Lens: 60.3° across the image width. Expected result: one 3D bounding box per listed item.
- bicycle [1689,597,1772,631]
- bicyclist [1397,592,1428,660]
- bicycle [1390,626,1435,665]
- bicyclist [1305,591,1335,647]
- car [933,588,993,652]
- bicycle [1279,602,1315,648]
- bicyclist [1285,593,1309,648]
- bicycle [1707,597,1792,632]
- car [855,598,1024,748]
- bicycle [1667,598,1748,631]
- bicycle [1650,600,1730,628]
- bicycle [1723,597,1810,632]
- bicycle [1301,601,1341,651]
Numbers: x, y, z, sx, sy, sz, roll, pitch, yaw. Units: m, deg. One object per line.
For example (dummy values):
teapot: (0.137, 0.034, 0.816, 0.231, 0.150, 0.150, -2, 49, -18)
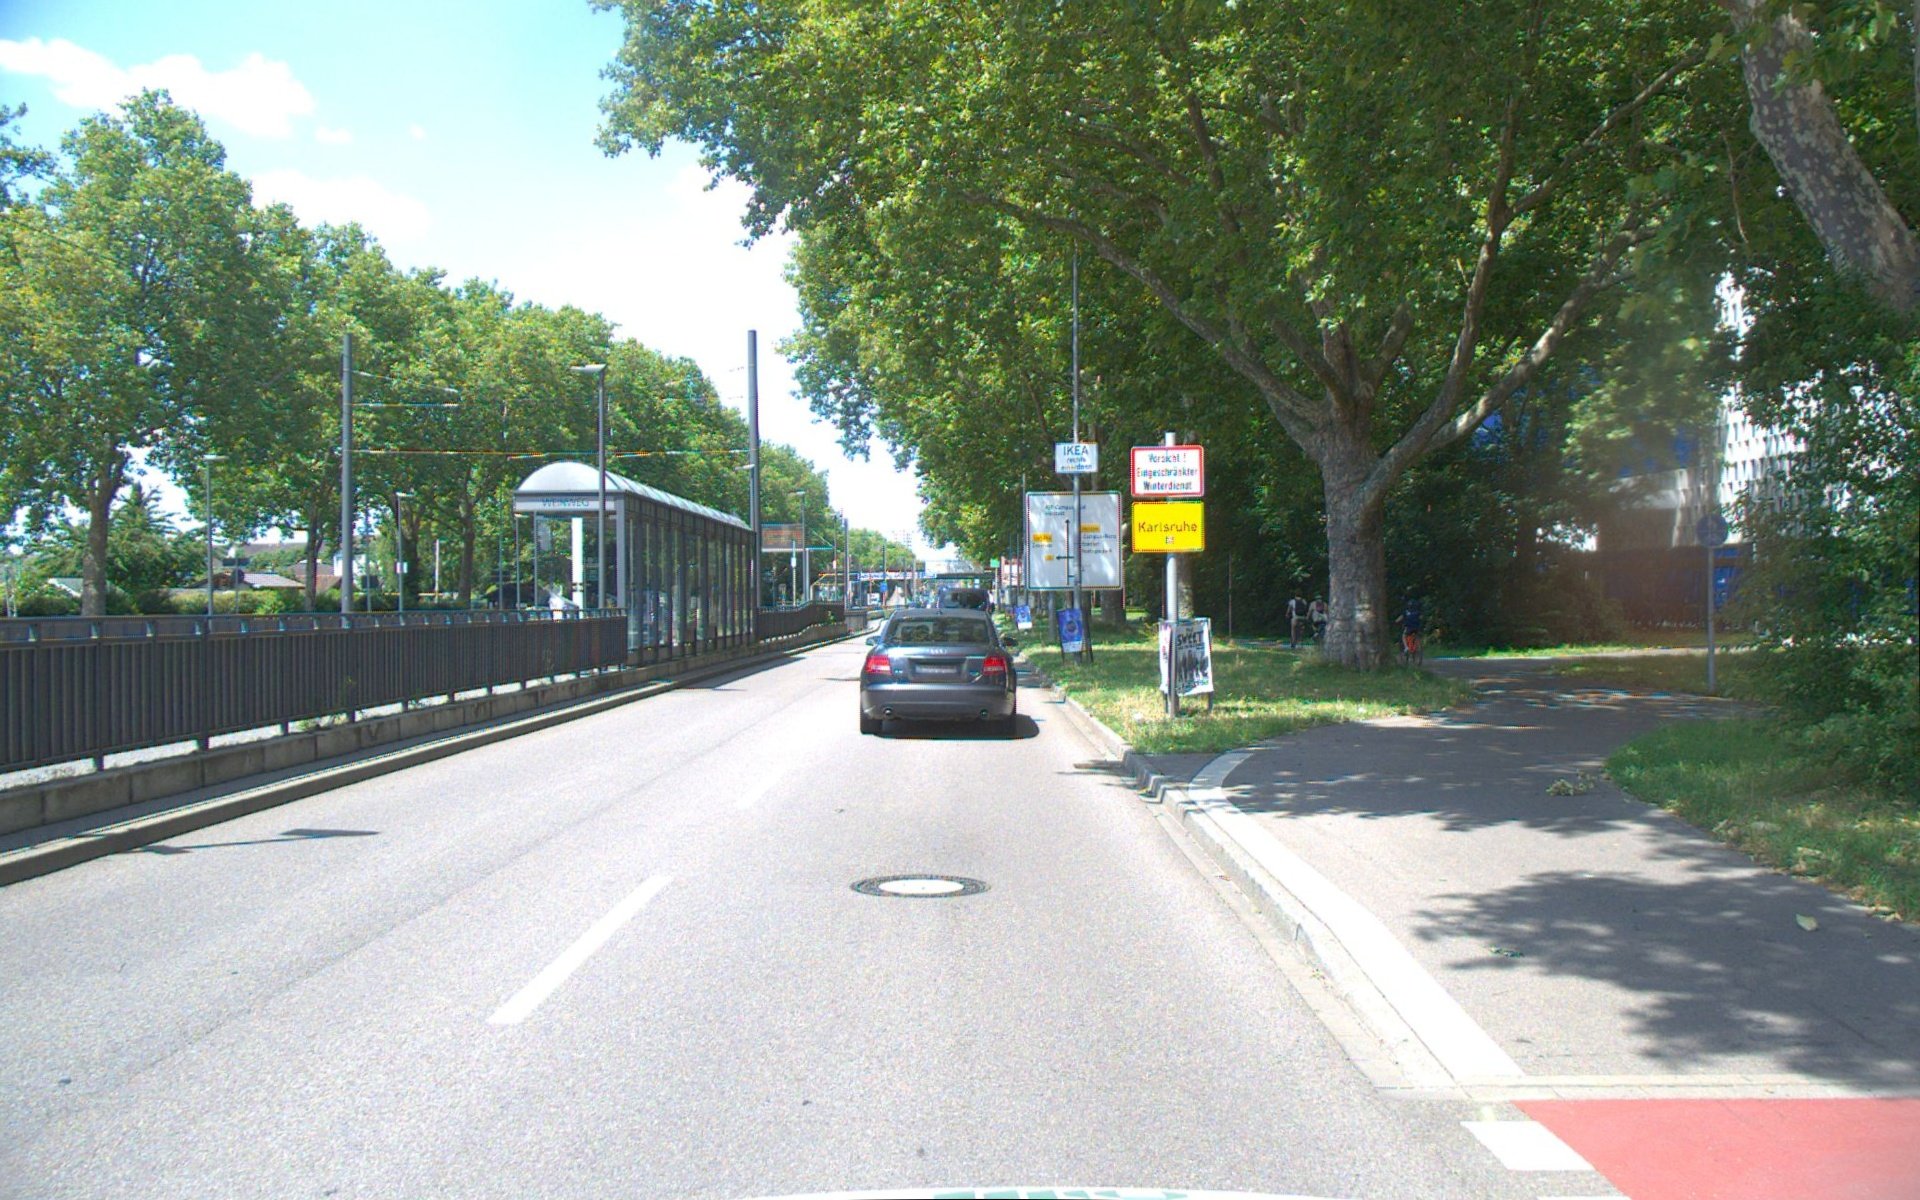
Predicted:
bicycle: (25.827, 0.472, 55.450, 2.495, 1.130, 0.758, 0, 0, -5)
bicyclist: (10.956, 0.615, 40.066, 0.609, 1.638, 0.817, 0, 0, 6)
bicycle: (10.950, 1.088, 40.068, 0.632, 0.902, 2.024, 0, 0, 3)
bicyclist: (10.697, 0.560, 49.160, 0.645, 1.627, 1.053, 0, -1, 0)
car: (0.144, 0.646, 54.797, 1.810, 1.994, 4.145, 1, 0, 2)
bicycle: (10.871, 0.803, 53.425, 0.598, 1.444, 2.661, -1, 0, 0)
bicyclist: (10.910, 0.665, 53.550, 0.585, 1.776, 0.843, 0, 0, 0)
bicycle: (25.936, 0.462, 54.362, 2.495, 1.130, 0.758, 0, 0, -5)
car: (-0.255, 0.785, 19.839, 1.805, 1.510, 4.000, -1, 1, -1)
bicycle: (25.721, 0.486, 56.902, 2.495, 1.130, 0.758, 0, 0, -5)
bicycle: (25.669, 0.499, 58.172, 2.495, 0.987, 0.758, 0, 0, -5)
bicycle: (26.065, 0.455, 53.444, 2.495, 1.130, 0.758, 0, 0, -5)
bicycle: (10.690, 0.751, 49.049, 0.598, 1.444, 2.661, -1, 0, 0)
